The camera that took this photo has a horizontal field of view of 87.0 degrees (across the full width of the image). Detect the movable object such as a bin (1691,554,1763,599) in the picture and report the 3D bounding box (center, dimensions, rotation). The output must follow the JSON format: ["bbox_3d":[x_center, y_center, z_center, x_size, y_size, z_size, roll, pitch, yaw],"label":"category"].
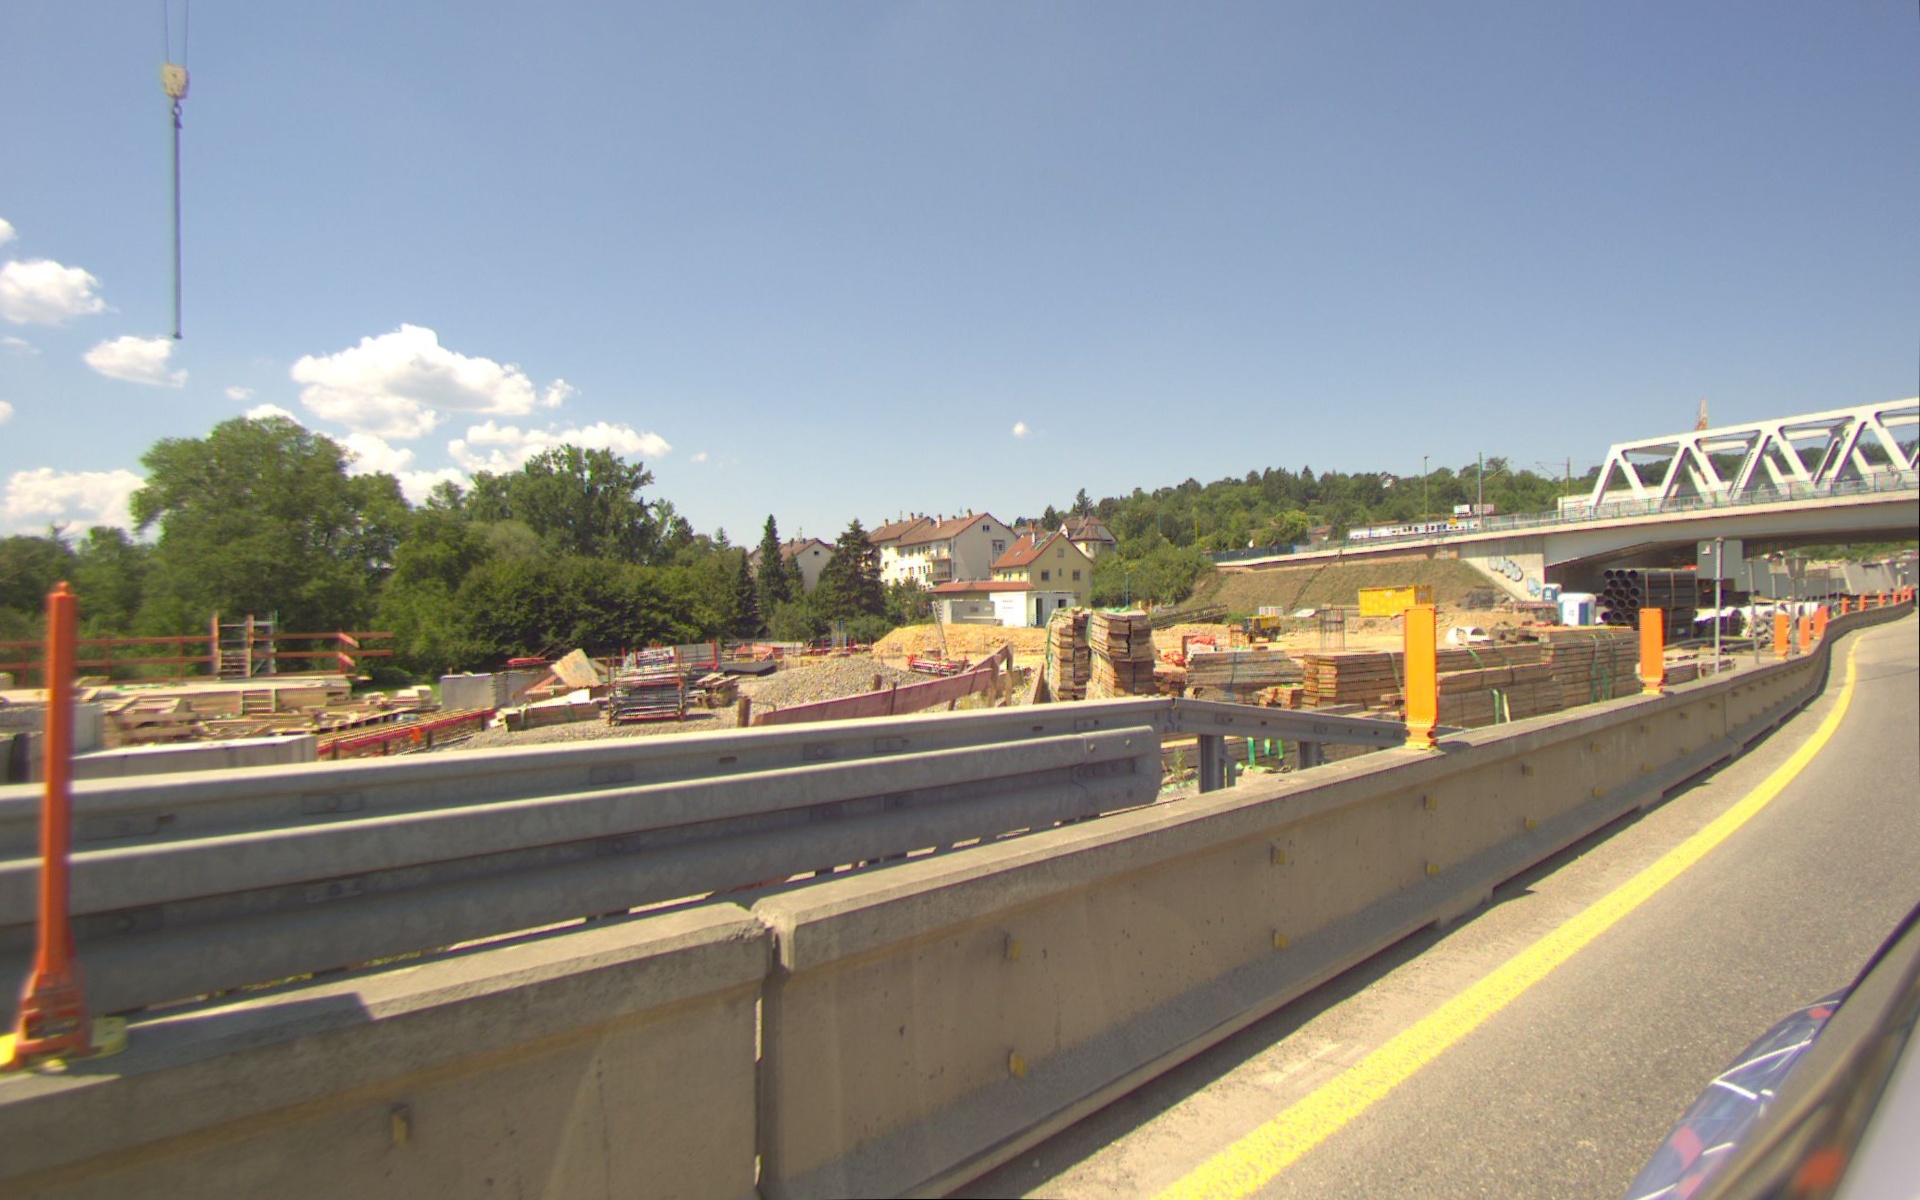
[{"bbox_3d":[65.937,-1.973,87.029,2.844,3.586,3.900,-4,1,-23],"label":"movable object such as a bin"}]

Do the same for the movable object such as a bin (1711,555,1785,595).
[{"bbox_3d":[73.989,-2.312,95.028,2.932,3.327,4.572,-4,1,-30],"label":"movable object such as a bin"}]

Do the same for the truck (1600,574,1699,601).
[{"bbox_3d":[59.784,-1.078,87.925,2.613,2.099,6.547,-3,0,-31],"label":"truck"}]

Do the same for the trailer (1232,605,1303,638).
[{"bbox_3d":[15.879,1.104,52.179,3.757,1.505,1.627,-3,0,-38],"label":"trailer"}]

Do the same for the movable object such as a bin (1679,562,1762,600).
[{"bbox_3d":[68.222,-1.695,90.869,2.448,3.094,5.260,-4,1,-30],"label":"movable object such as a bin"}]

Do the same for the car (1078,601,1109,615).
[{"bbox_3d":[16.908,1.008,128.014,1.548,1.526,4.170,-4,3,-31],"label":"car"}]
